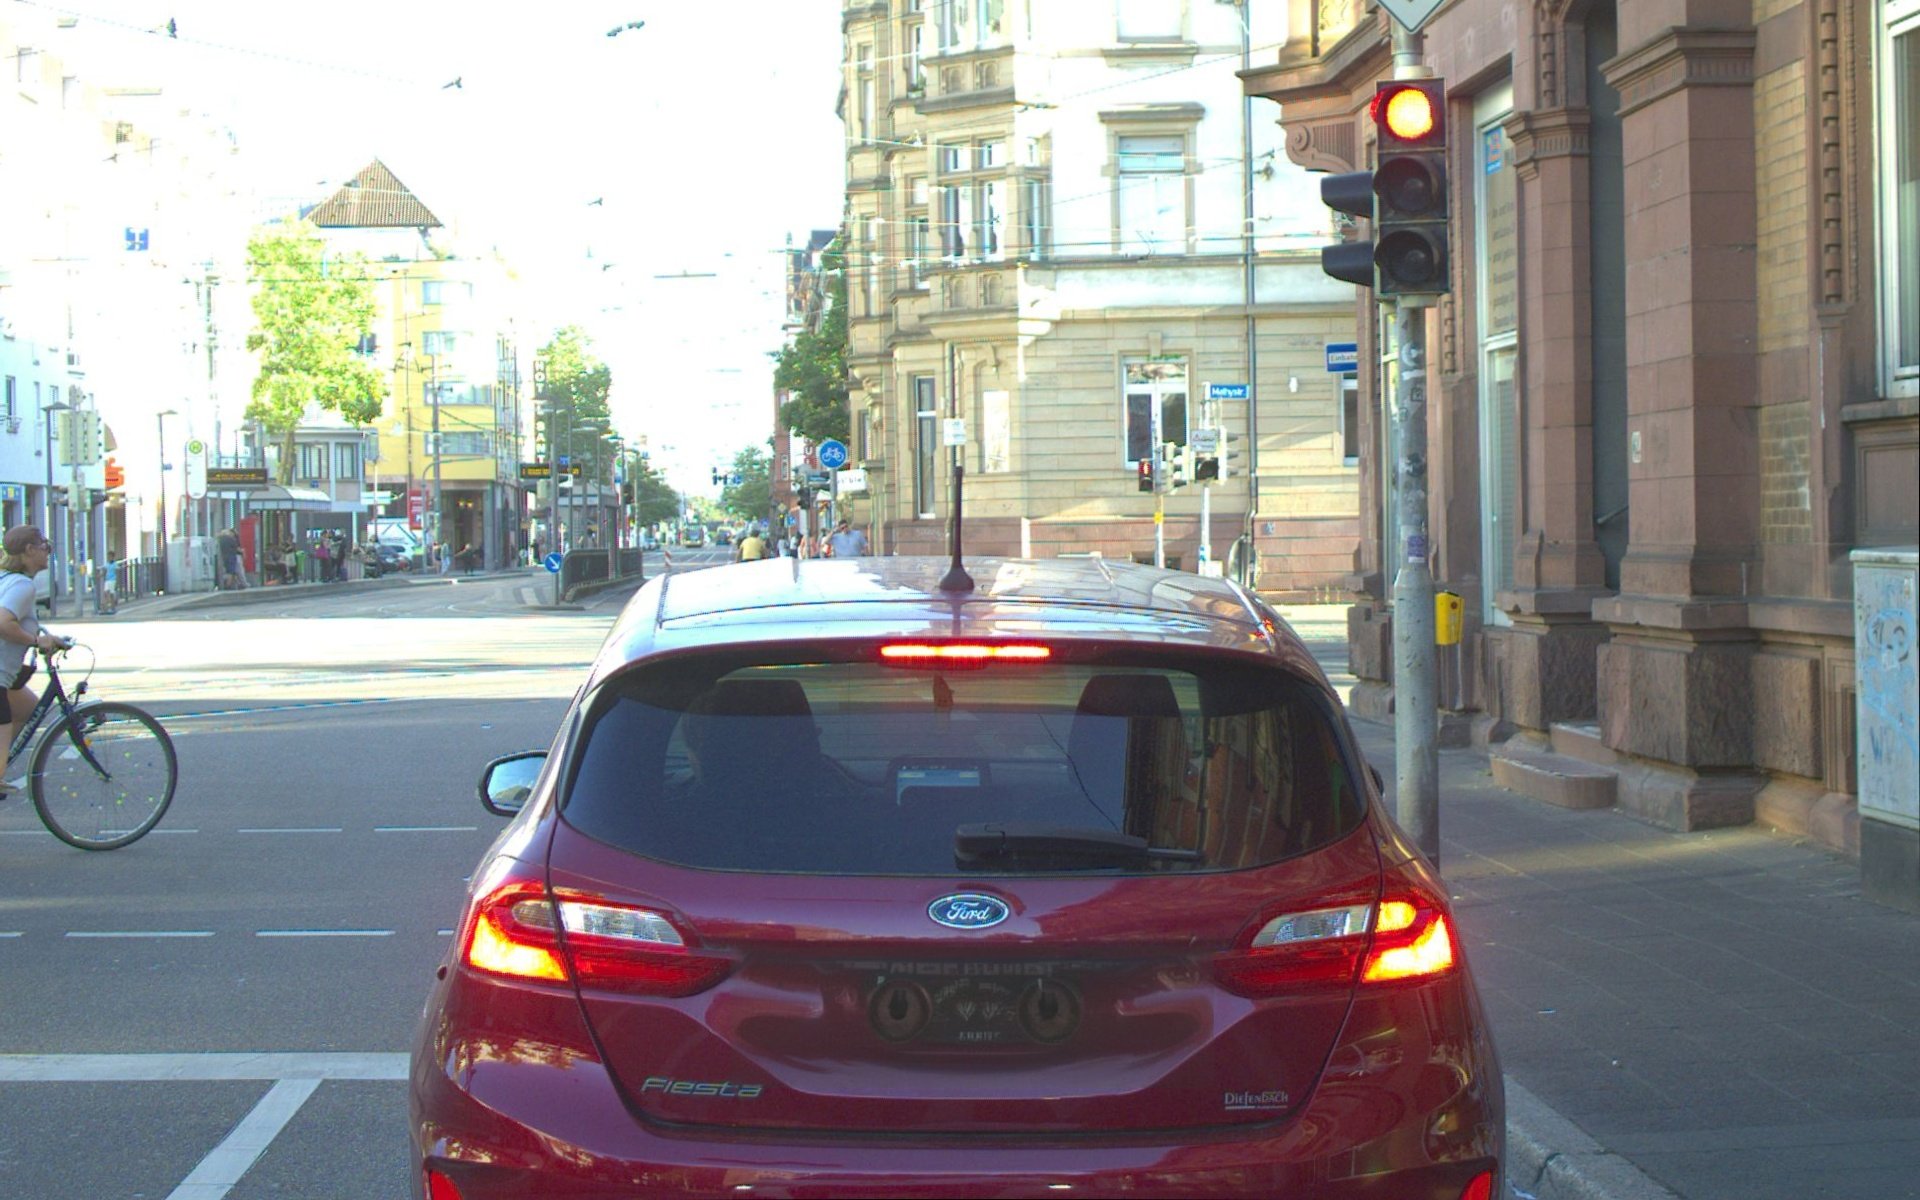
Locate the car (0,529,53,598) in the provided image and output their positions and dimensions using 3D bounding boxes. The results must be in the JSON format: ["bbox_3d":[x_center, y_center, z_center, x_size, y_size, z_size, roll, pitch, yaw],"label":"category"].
[{"bbox_3d":[-24.475,-0.945,88.068,1.701,1.713,3.565,-1,1,-4],"label":"car"}]

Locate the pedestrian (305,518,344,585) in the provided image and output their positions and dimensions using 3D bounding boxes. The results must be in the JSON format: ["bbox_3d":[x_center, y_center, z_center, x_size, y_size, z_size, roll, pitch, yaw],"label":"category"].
[{"bbox_3d":[-19.155,-1.459,103.698,1.045,2.007,0.959,-1,1,-5],"label":"pedestrian"}]

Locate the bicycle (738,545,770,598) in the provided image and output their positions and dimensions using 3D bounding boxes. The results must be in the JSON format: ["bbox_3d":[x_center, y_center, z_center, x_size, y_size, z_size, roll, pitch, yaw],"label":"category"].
[{"bbox_3d":[-4.360,-0.605,72.771,0.526,1.085,1.486,-1,1,2],"label":"bicycle"}]

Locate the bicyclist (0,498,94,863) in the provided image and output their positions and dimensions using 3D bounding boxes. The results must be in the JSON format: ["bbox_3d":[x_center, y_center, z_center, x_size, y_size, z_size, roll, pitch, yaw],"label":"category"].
[{"bbox_3d":[-4.391,0.352,15.653,0.729,1.621,0.766,0,1,-25],"label":"bicyclist"}]

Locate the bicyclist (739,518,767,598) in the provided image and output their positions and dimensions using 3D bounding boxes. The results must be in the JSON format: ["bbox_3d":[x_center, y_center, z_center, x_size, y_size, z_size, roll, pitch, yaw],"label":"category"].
[{"bbox_3d":[-4.369,-0.896,72.573,0.499,1.670,0.545,-1,1,1],"label":"bicyclist"}]

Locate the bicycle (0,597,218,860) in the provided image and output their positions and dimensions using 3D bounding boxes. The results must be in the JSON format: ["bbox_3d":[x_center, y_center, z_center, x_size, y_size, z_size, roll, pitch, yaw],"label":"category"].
[{"bbox_3d":[-4.483,0.583,15.785,2.018,1.173,0.628,0,1,-25],"label":"bicycle"}]

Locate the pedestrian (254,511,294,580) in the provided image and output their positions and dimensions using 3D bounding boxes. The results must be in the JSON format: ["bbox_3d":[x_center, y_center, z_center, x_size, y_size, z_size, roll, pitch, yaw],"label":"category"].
[{"bbox_3d":[-20.212,-1.608,101.296,0.956,2.007,1.049,-1,1,-3],"label":"pedestrian"}]

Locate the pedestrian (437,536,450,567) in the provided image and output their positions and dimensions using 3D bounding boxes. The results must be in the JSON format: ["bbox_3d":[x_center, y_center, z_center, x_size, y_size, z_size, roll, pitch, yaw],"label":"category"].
[{"bbox_3d":[-24.928,-2.351,165.864,0.524,1.483,0.583,-1,1,-1],"label":"pedestrian"}]

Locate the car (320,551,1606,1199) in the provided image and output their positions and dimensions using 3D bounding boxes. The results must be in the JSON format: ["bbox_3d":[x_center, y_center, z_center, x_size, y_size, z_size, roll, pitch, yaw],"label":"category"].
[{"bbox_3d":[-0.160,0.655,6.663,1.754,1.461,3.946,1,1,-5],"label":"car"}]

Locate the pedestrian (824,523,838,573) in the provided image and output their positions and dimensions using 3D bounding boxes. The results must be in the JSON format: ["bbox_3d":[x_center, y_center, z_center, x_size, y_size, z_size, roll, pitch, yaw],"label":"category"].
[{"bbox_3d":[-4.400,-1.773,117.278,0.413,1.674,0.485,-1,1,-1],"label":"pedestrian"}]

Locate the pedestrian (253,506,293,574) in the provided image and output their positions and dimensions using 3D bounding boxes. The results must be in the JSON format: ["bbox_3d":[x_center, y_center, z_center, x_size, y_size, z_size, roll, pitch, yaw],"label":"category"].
[{"bbox_3d":[-20.481,-1.784,102.504,1.045,2.007,0.959,-1,1,-5],"label":"pedestrian"}]

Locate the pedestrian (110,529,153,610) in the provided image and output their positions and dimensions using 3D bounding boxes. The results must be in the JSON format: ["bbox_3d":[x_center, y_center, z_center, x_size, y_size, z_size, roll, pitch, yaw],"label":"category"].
[{"bbox_3d":[-17.760,-0.653,73.741,0.768,1.724,0.573,-1,1,-1],"label":"pedestrian"}]

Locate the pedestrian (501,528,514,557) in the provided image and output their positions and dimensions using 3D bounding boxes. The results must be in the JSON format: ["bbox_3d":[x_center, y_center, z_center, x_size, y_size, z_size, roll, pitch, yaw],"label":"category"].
[{"bbox_3d":[-25.966,-3.302,197.383,0.628,1.599,0.579,-1,1,-20],"label":"pedestrian"}]

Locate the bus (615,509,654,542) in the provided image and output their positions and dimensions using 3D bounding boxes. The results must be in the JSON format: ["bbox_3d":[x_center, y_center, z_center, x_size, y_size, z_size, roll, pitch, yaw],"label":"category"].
[{"bbox_3d":[-20.583,-4.728,217.589,1.925,2.007,7.138,-1,1,-2],"label":"bus"}]

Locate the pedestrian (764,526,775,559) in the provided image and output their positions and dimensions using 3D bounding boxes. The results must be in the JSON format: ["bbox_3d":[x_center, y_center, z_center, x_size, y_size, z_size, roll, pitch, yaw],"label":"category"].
[{"bbox_3d":[-11.171,-3.377,201.428,0.577,1.881,0.631,-1,1,-3],"label":"pedestrian"}]

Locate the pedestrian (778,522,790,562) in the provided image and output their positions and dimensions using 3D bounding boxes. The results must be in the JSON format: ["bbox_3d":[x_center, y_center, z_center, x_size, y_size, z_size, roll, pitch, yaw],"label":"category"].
[{"bbox_3d":[-8.915,-2.948,174.626,0.577,2.007,0.631,-1,1,-2],"label":"pedestrian"}]

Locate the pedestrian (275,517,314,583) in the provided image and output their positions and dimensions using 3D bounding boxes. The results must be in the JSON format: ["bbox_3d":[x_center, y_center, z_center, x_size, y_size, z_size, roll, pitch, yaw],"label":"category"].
[{"bbox_3d":[-20.391,-1.530,105.344,1.045,2.007,0.959,-1,1,-5],"label":"pedestrian"}]

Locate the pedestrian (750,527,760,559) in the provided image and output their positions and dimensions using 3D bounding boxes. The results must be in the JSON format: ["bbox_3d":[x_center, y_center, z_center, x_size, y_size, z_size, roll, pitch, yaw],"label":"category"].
[{"bbox_3d":[-12.177,-3.369,204.395,0.577,1.881,0.669,-1,1,-3],"label":"pedestrian"}]

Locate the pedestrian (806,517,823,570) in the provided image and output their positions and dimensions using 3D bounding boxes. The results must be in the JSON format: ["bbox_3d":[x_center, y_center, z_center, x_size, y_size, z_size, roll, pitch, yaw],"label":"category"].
[{"bbox_3d":[-5.546,-2.159,131.160,0.577,2.007,0.631,-1,1,3],"label":"pedestrian"}]

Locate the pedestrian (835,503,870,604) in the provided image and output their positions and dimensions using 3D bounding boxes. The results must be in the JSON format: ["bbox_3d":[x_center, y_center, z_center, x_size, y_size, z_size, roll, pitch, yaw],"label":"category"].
[{"bbox_3d":[-2.148,-0.934,68.682,0.651,2.007,0.760,-1,1,-4],"label":"pedestrian"}]

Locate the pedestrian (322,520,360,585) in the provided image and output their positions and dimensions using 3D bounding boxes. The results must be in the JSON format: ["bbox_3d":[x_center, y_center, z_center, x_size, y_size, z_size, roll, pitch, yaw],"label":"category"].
[{"bbox_3d":[-19.115,-1.467,106.125,1.045,2.007,0.959,-1,1,-5],"label":"pedestrian"}]

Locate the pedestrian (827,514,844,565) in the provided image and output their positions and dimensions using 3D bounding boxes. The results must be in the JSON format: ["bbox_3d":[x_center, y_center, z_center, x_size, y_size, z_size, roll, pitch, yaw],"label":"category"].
[{"bbox_3d":[-4.893,-2.379,135.136,0.577,2.007,0.631,-1,1,3],"label":"pedestrian"}]
